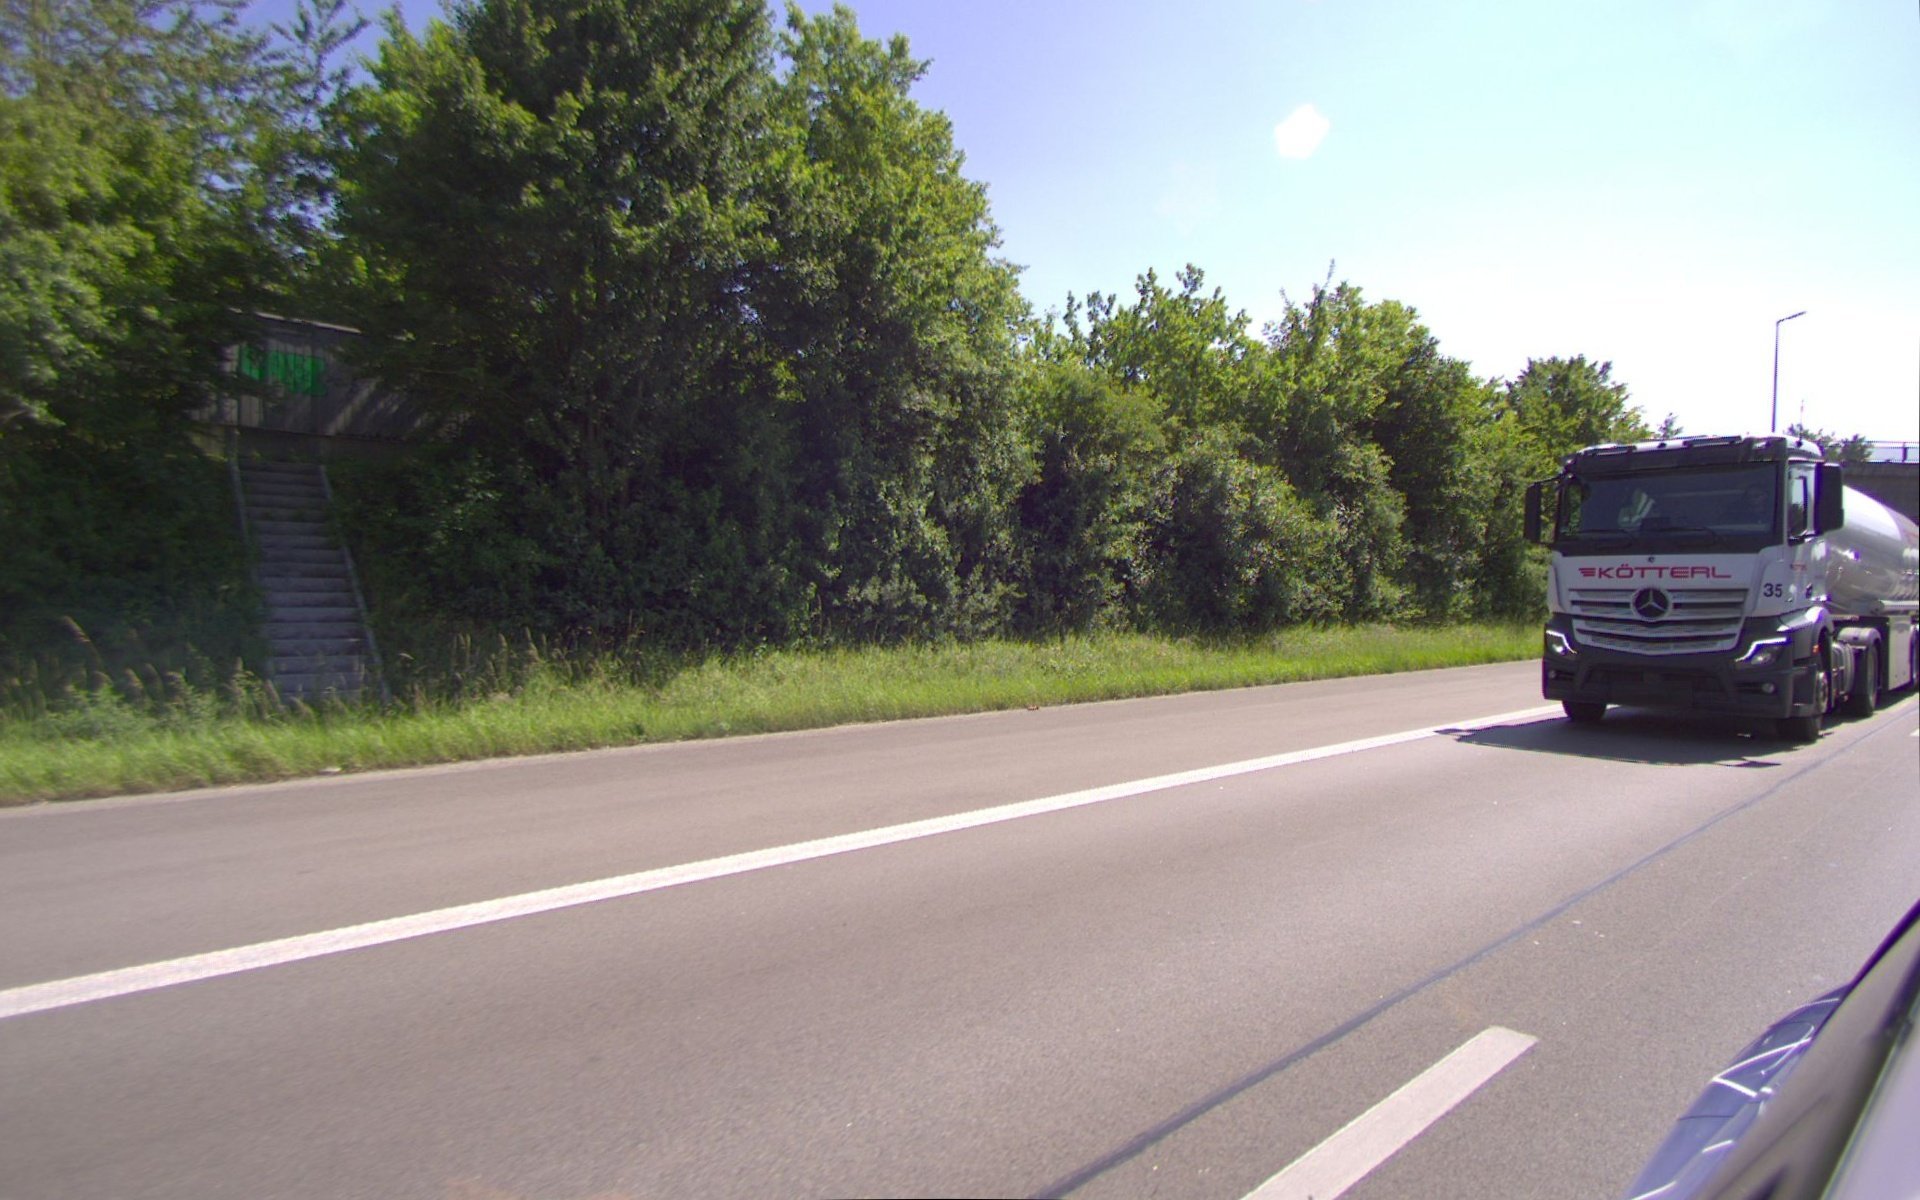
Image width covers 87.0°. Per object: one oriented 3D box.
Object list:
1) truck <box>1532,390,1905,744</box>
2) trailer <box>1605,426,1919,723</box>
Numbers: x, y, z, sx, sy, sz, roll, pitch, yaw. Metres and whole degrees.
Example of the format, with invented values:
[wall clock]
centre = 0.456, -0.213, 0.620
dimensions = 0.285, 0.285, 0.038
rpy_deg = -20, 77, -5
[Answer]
[truck]
centre = 9.886, -0.340, 12.903
dimensions = 6.376, 3.417, 2.642
rpy_deg = 0, 0, -42
[trailer]
centre = 13.717, -0.324, 16.326
dimensions = 10.957, 3.432, 2.652
rpy_deg = 0, 0, -41
